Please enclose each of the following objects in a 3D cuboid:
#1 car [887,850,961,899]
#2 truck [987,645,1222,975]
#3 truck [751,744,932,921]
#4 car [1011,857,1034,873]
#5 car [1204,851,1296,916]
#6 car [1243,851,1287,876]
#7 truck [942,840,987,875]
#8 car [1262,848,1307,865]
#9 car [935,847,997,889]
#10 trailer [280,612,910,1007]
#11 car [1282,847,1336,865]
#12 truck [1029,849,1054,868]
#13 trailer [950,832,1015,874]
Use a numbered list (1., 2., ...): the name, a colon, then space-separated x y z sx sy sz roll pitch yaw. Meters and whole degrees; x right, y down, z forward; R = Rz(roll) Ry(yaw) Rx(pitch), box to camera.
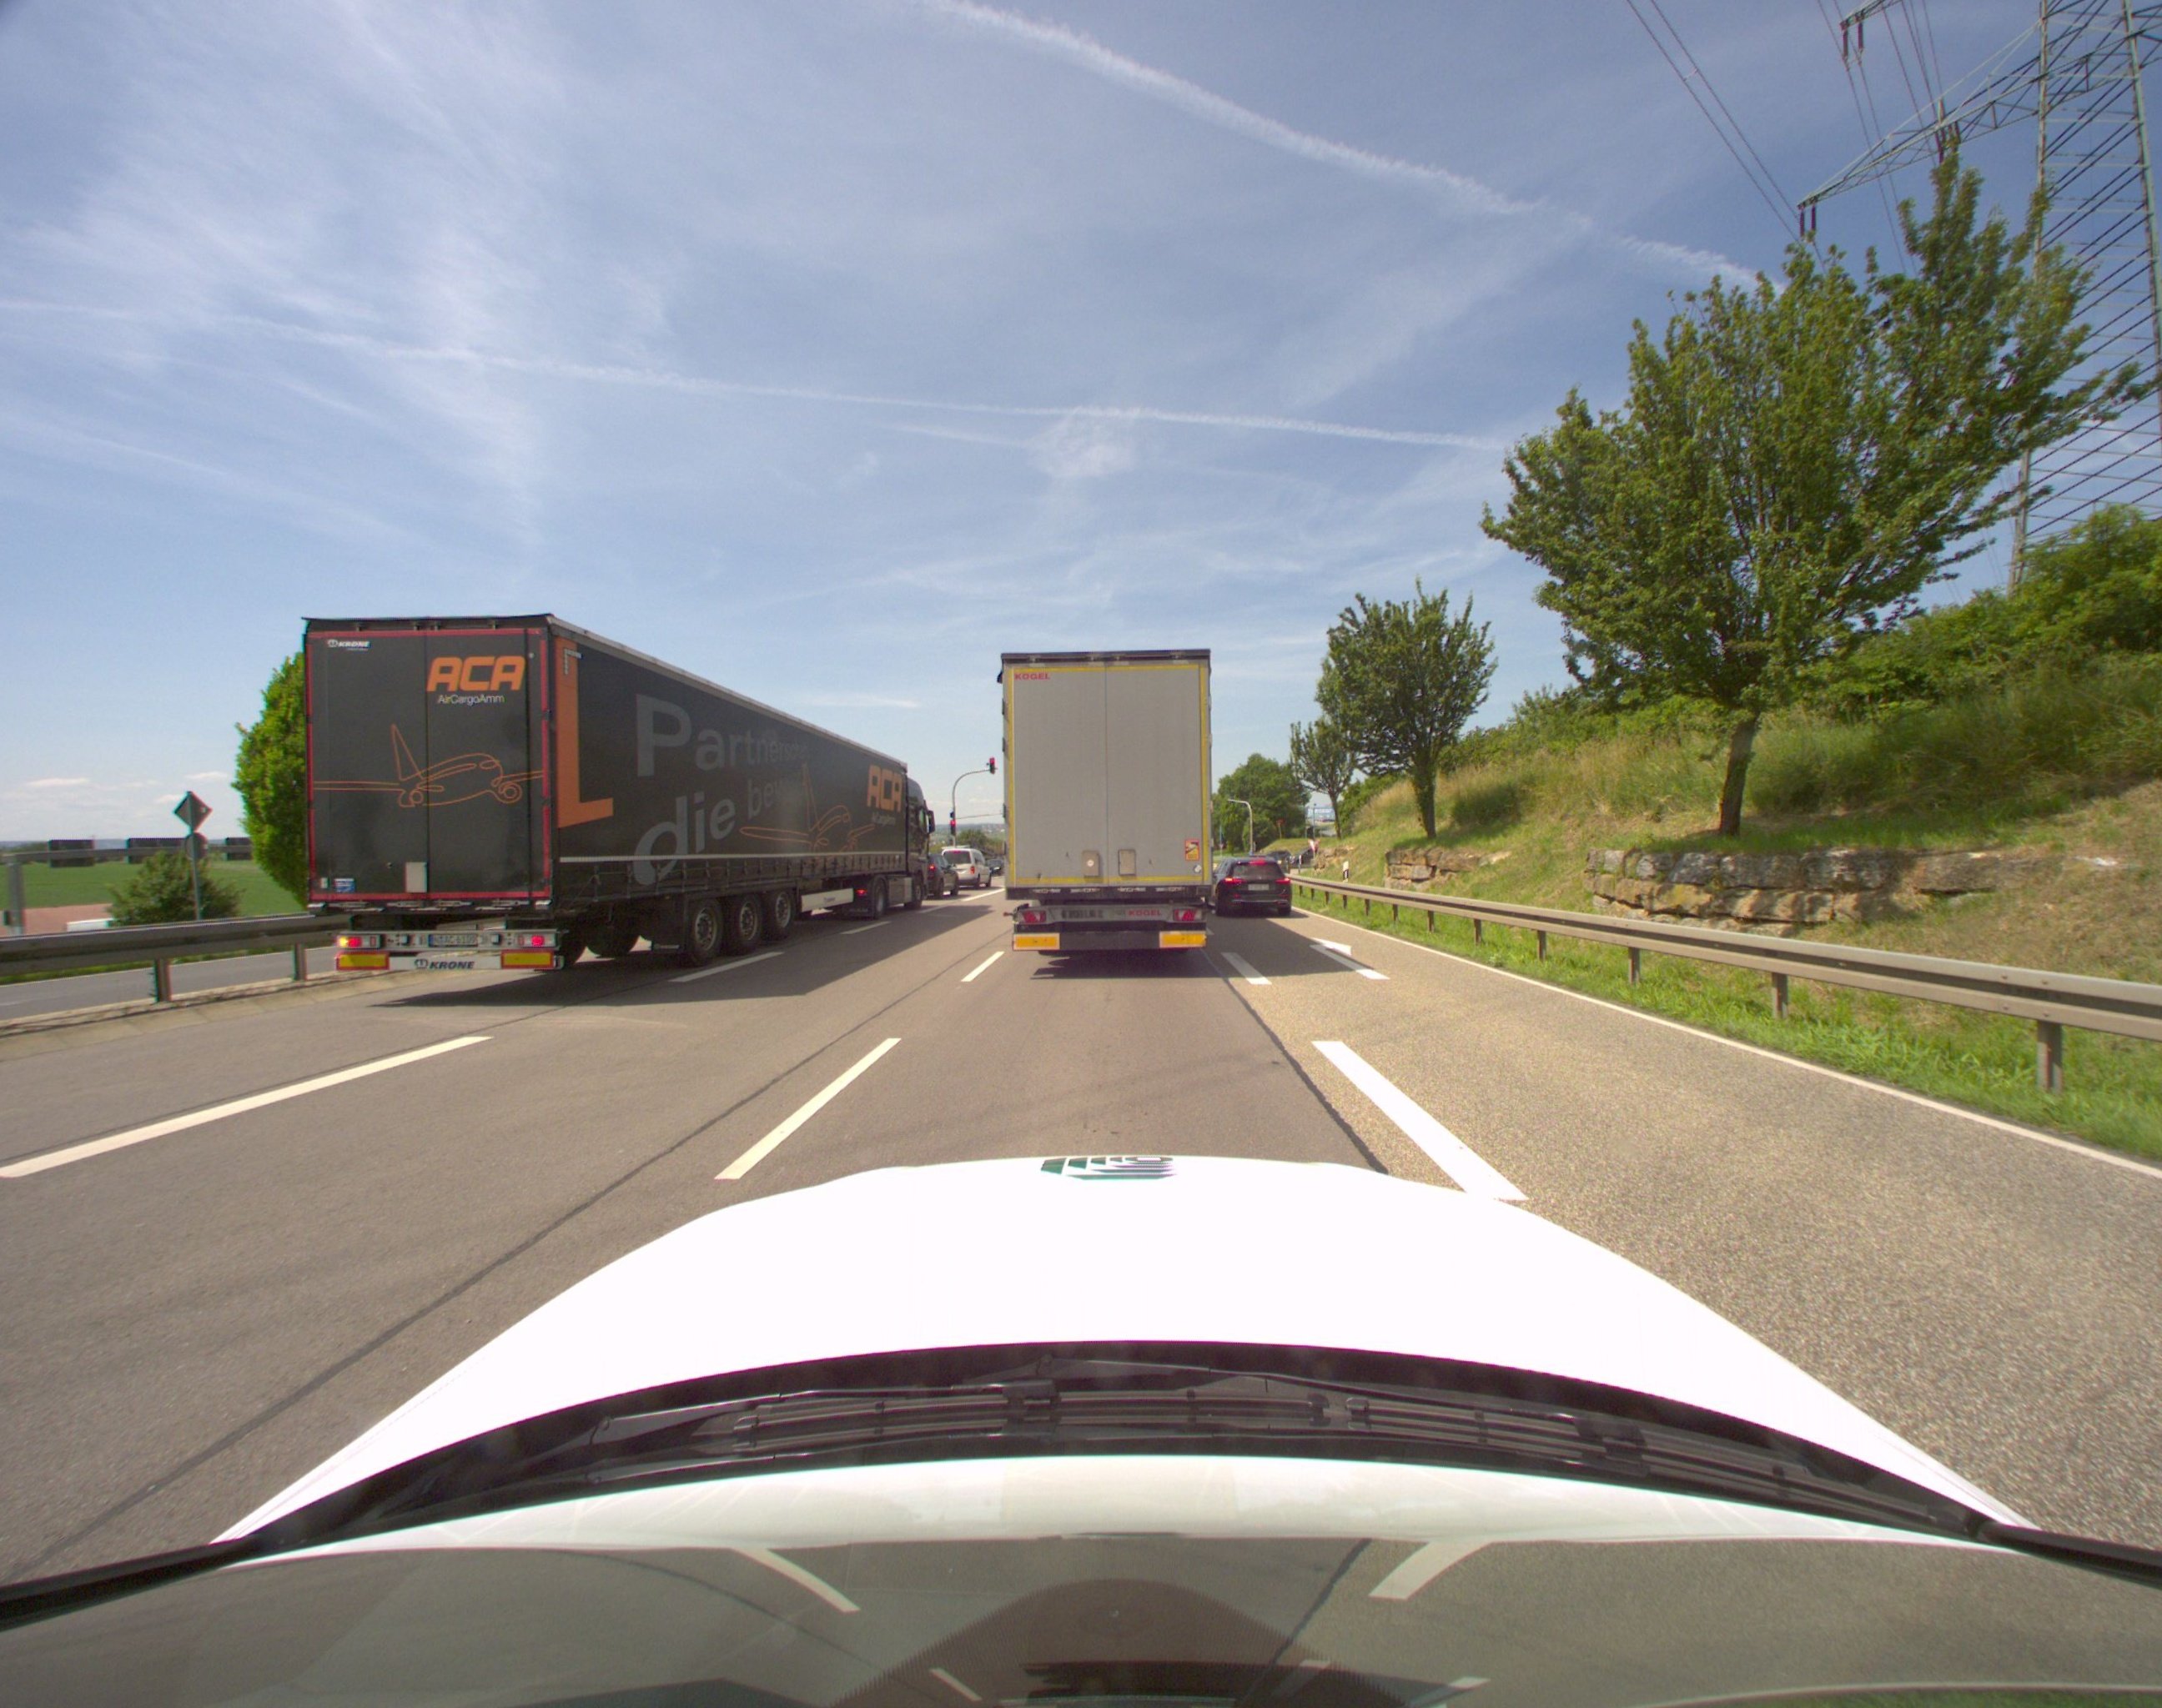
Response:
1. car: -5.667 0.689 29.941 1.850 1.657 4.348 0 0 0
2. truck: 0.489 -0.485 15.409 2.788 3.929 11.347 0 0 2
3. truck: -6.013 -0.479 21.575 2.772 4.013 5.975 0 0 3
4. car: -5.925 1.118 82.768 1.729 1.528 4.005 0 -1 4
5. car: 4.277 0.712 21.264 1.738 1.532 4.302 0 -1 3
6. car: 12.348 0.626 54.512 1.779 1.640 4.024 -1 -1 28
7. truck: -10.579 0.335 74.475 2.787 3.013 5.996 -2 -1 4
8. car: 19.975 0.245 80.094 3.981 1.510 1.713 -1 -1 -6
9. car: -5.267 0.617 37.916 1.759 1.798 4.759 0 0 5
10. trailer: -6.304 -0.423 15.001 2.772 3.913 13.796 0 0 3
11. car: 20.598 0.217 73.577 4.355 1.510 1.711 -1 -1 -8
12. truck: -4.820 0.575 100.516 1.953 2.157 4.638 -2 -1 12
13. trailer: -9.789 0.031 84.070 2.627 3.763 19.822 -2 -1 4
